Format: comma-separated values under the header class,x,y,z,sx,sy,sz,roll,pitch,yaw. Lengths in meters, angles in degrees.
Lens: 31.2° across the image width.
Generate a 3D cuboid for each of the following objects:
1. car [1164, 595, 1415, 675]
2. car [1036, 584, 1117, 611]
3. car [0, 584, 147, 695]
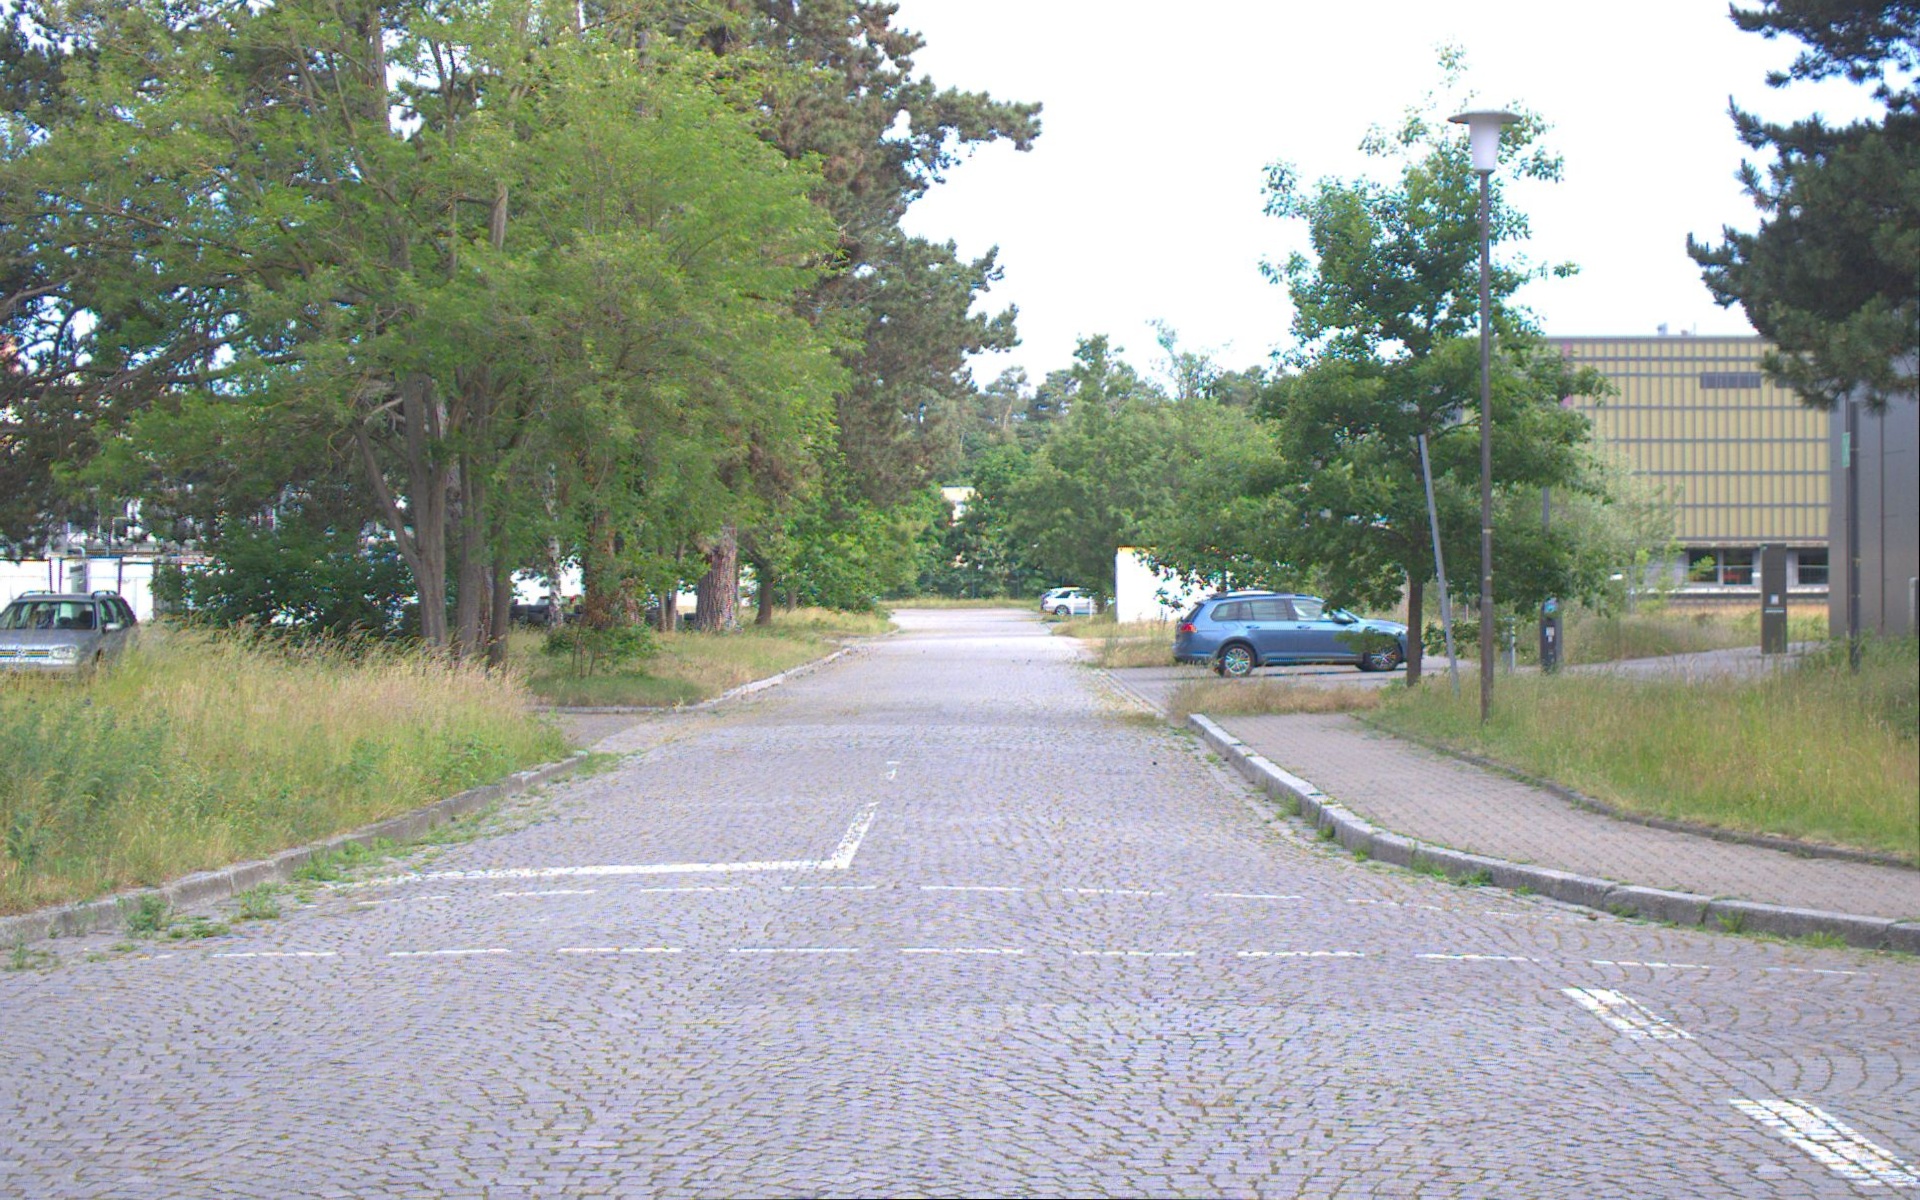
class,x,y,z,sx,sy,sz,roll,pitch,yaw
car,5.971,0.620,62.634,4.344,1.417,2.000,0,0,-1
car,6.087,-0.111,179.724,3.986,1.393,2.000,0,0,-5
car,-12.673,0.522,48.125,1.613,1.482,4.000,0,0,1
